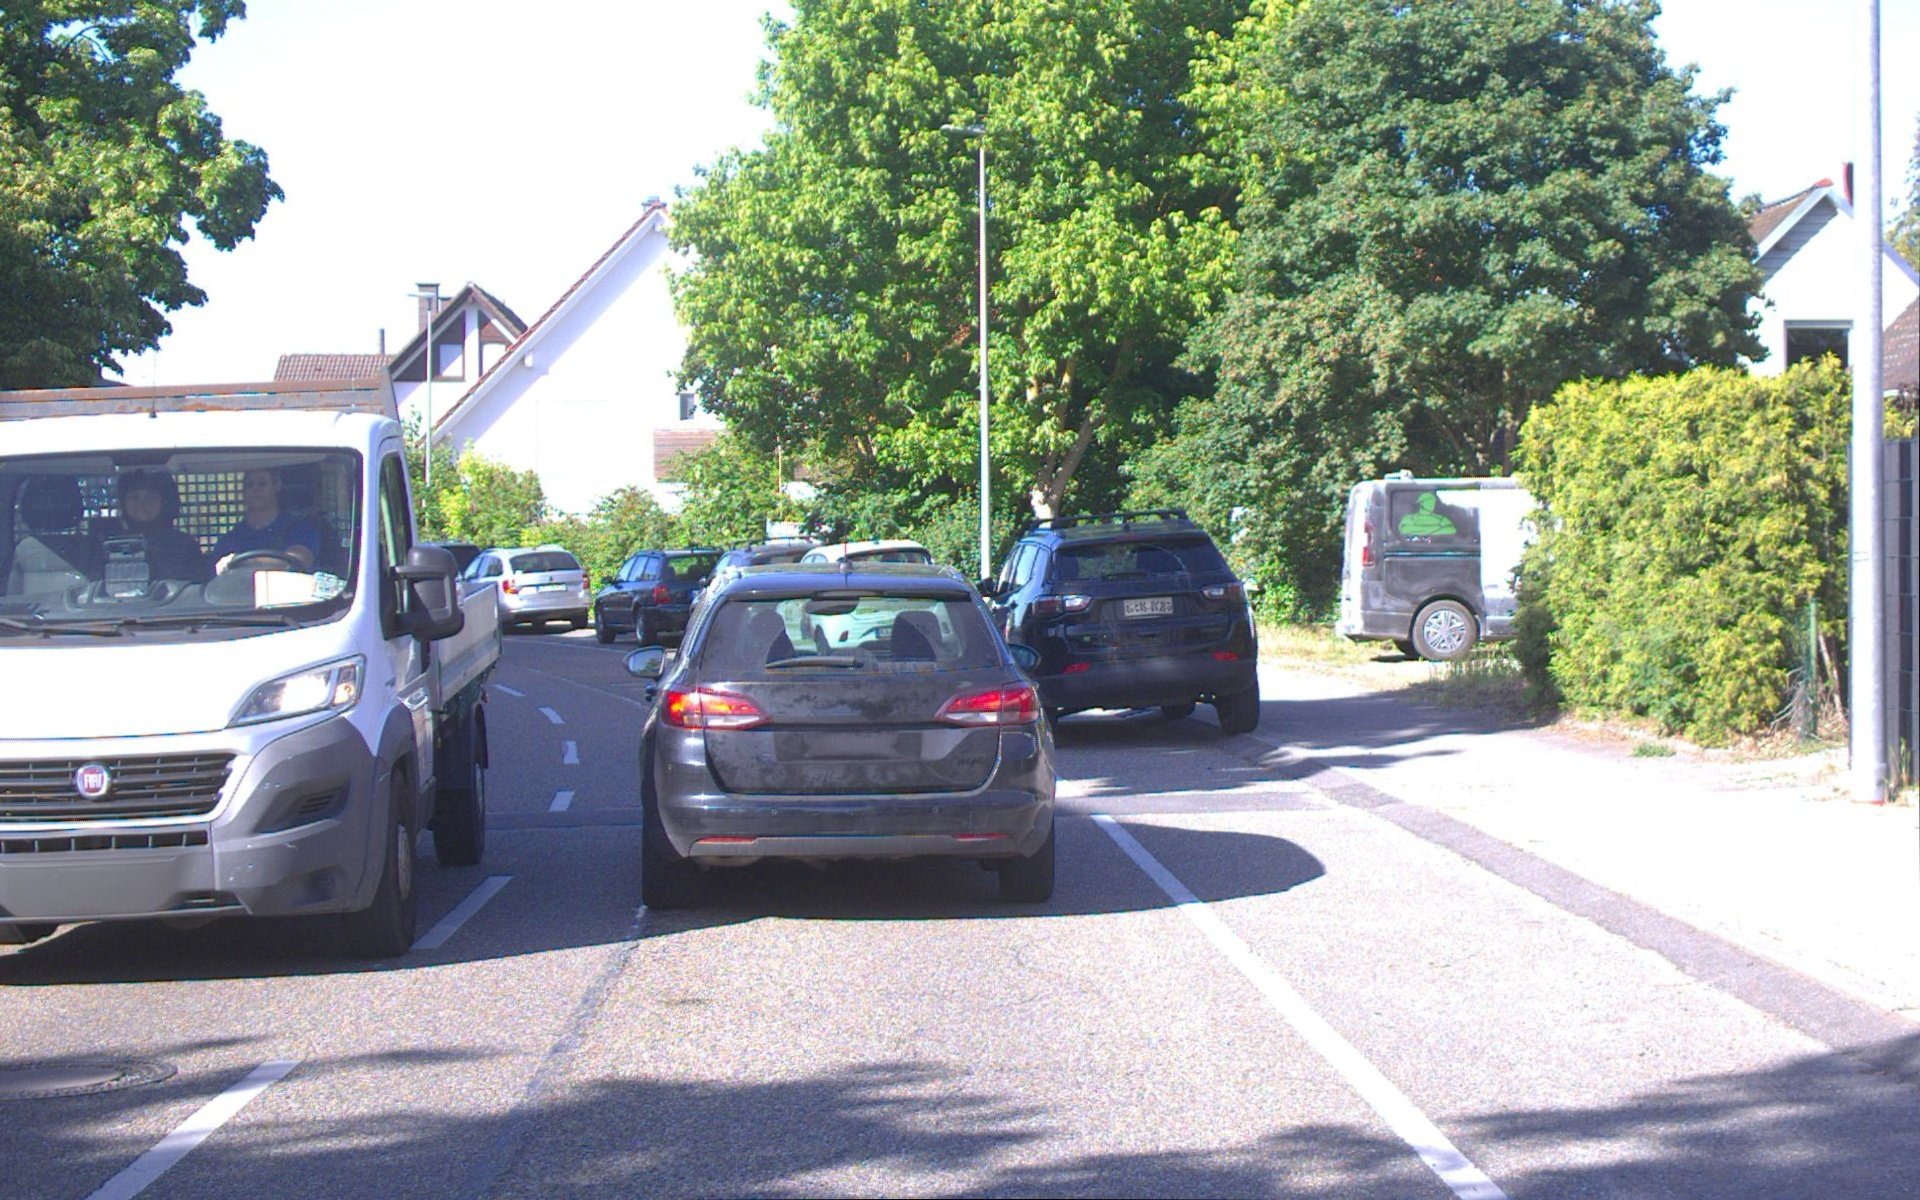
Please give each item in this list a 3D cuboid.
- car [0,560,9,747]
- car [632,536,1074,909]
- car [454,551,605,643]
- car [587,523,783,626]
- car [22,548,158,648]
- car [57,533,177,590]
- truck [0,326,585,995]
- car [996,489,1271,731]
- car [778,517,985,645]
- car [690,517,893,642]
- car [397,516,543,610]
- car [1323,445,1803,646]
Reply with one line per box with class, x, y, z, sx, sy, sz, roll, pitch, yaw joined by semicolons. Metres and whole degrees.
car;-6.971;0.515;20.393;1.567;1.524;3.919;3;2;-1
car;-0.510;0.464;15.876;1.761;1.486;4.291;0;1;-2
car;-7.724;-0.069;61.392;1.819;1.529;4.260;-2;1;-19
car;-4.253;-0.390;52.549;2.005;1.470;4.295;-2;1;-18
car;-13.623;-0.055;53.690;1.688;1.486;4.292;0;1;-19
car;-21.885;-0.990;89.198;1.916;1.402;4.294;-2;1;-29
truck;-3.183;0.165;15.380;2.129;2.326;6.443;-2;1;1
car;1.289;0.045;27.167;1.778;1.718;4.295;-1;1;-2
car;-1.039;-0.247;42.999;1.760;1.475;4.295;-2;1;-12
car;-2.379;-0.290;47.468;1.911;1.595;4.295;-2;1;-15
car;-9.550;-0.716;66.719;2.005;1.718;4.295;-2;1;-19
car;6.396;-0.583;36.849;4.680;1.977;2.143;-1;1;-2
